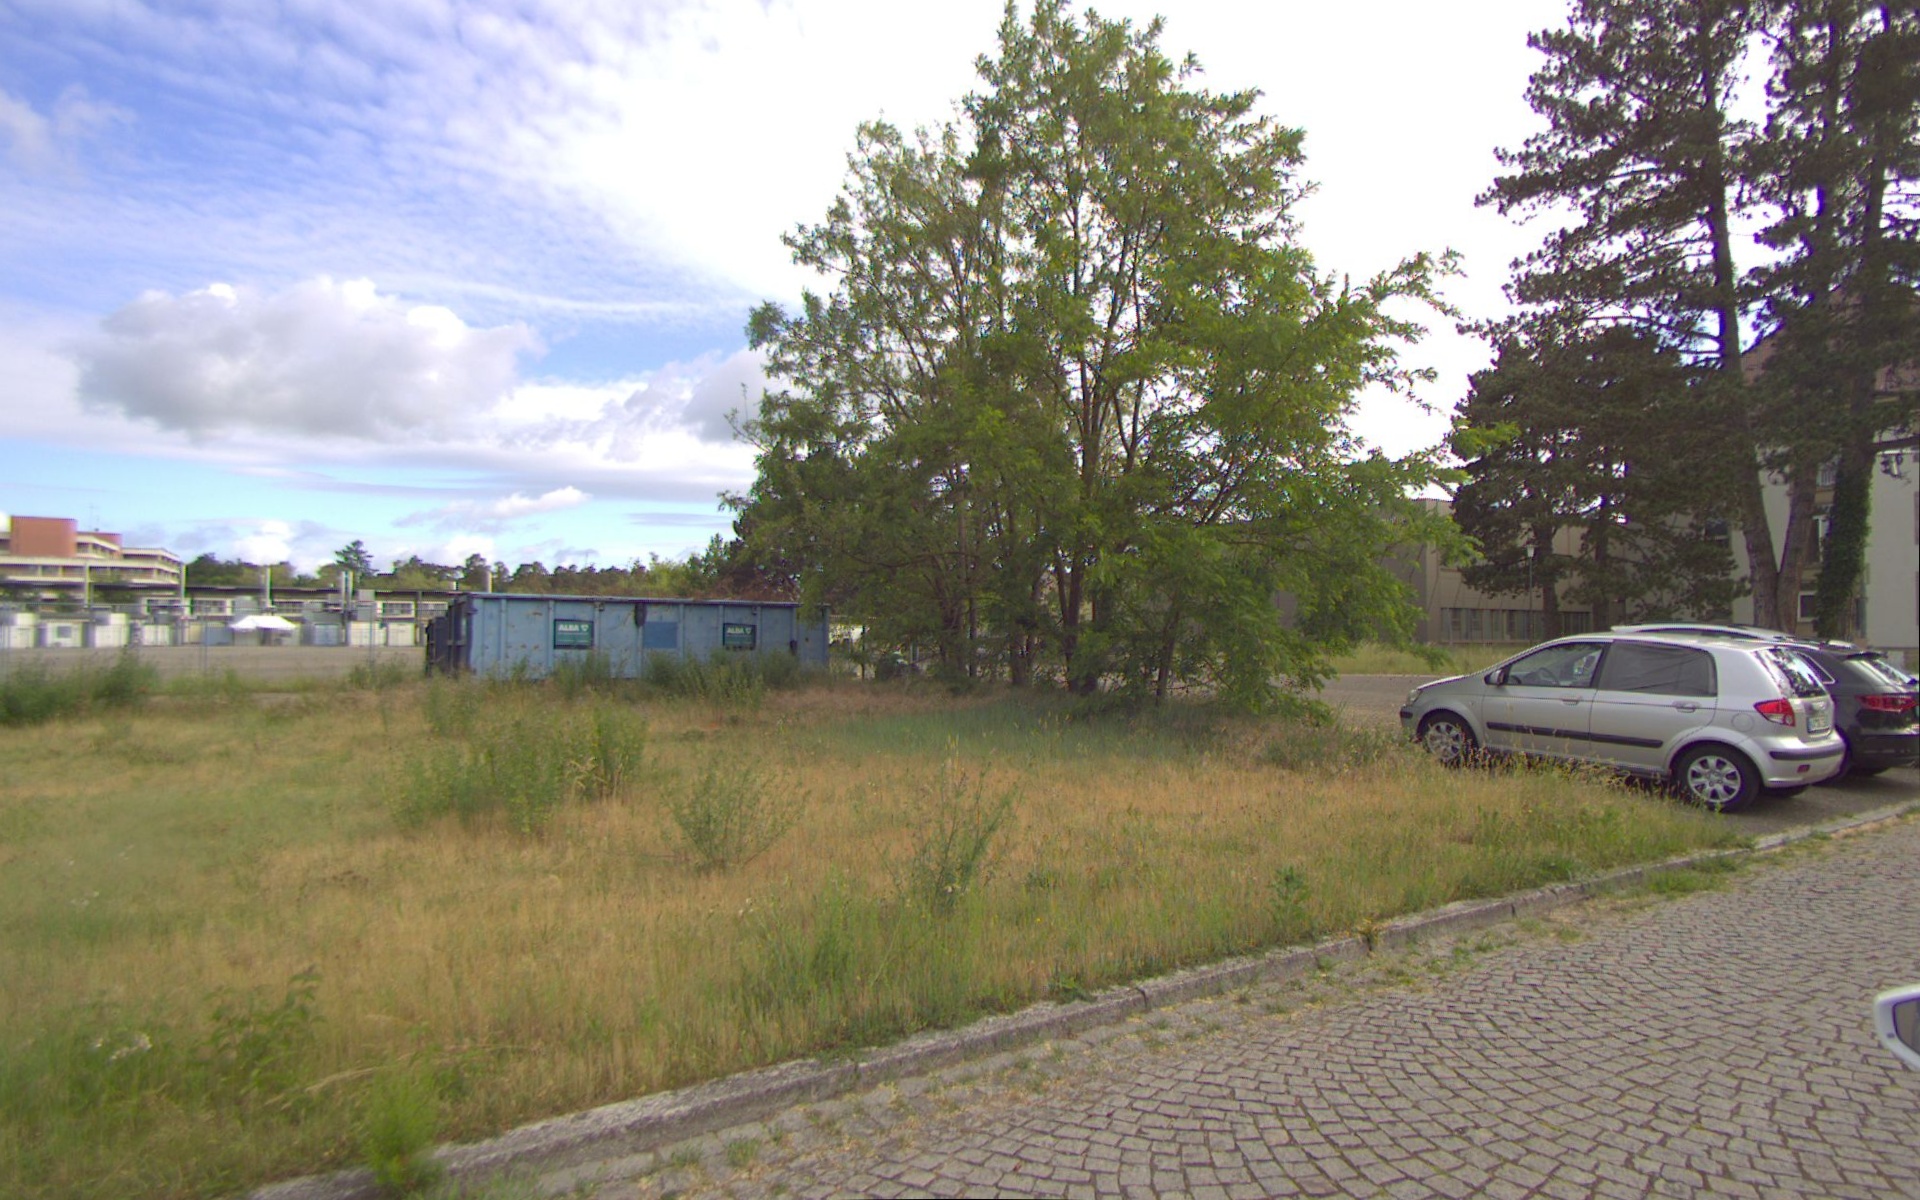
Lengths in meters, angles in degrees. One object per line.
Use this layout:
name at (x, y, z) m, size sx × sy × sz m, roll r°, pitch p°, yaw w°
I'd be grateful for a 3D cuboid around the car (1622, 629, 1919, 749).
car at (12.746, 1.243, 14.858) m, size 1.783 × 1.463 × 4.617 m, roll 1°, pitch 0°, yaw -34°

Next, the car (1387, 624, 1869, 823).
car at (6.518, 1.055, 10.153) m, size 1.791 × 1.472 × 3.653 m, roll 1°, pitch 0°, yaw -35°

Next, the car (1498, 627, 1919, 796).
car at (8.671, 1.119, 11.631) m, size 1.731 × 1.446 × 3.965 m, roll 1°, pitch 0°, yaw -32°

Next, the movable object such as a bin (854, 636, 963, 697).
movable object such as a bin at (-1.110, 1.340, 20.937) m, size 1.480 × 1.176 × 2.384 m, roll 1°, pitch -2°, yaw -26°

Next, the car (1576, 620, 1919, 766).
car at (10.799, 1.118, 13.479) m, size 1.707 × 1.568 × 3.960 m, roll 1°, pitch 0°, yaw -35°
